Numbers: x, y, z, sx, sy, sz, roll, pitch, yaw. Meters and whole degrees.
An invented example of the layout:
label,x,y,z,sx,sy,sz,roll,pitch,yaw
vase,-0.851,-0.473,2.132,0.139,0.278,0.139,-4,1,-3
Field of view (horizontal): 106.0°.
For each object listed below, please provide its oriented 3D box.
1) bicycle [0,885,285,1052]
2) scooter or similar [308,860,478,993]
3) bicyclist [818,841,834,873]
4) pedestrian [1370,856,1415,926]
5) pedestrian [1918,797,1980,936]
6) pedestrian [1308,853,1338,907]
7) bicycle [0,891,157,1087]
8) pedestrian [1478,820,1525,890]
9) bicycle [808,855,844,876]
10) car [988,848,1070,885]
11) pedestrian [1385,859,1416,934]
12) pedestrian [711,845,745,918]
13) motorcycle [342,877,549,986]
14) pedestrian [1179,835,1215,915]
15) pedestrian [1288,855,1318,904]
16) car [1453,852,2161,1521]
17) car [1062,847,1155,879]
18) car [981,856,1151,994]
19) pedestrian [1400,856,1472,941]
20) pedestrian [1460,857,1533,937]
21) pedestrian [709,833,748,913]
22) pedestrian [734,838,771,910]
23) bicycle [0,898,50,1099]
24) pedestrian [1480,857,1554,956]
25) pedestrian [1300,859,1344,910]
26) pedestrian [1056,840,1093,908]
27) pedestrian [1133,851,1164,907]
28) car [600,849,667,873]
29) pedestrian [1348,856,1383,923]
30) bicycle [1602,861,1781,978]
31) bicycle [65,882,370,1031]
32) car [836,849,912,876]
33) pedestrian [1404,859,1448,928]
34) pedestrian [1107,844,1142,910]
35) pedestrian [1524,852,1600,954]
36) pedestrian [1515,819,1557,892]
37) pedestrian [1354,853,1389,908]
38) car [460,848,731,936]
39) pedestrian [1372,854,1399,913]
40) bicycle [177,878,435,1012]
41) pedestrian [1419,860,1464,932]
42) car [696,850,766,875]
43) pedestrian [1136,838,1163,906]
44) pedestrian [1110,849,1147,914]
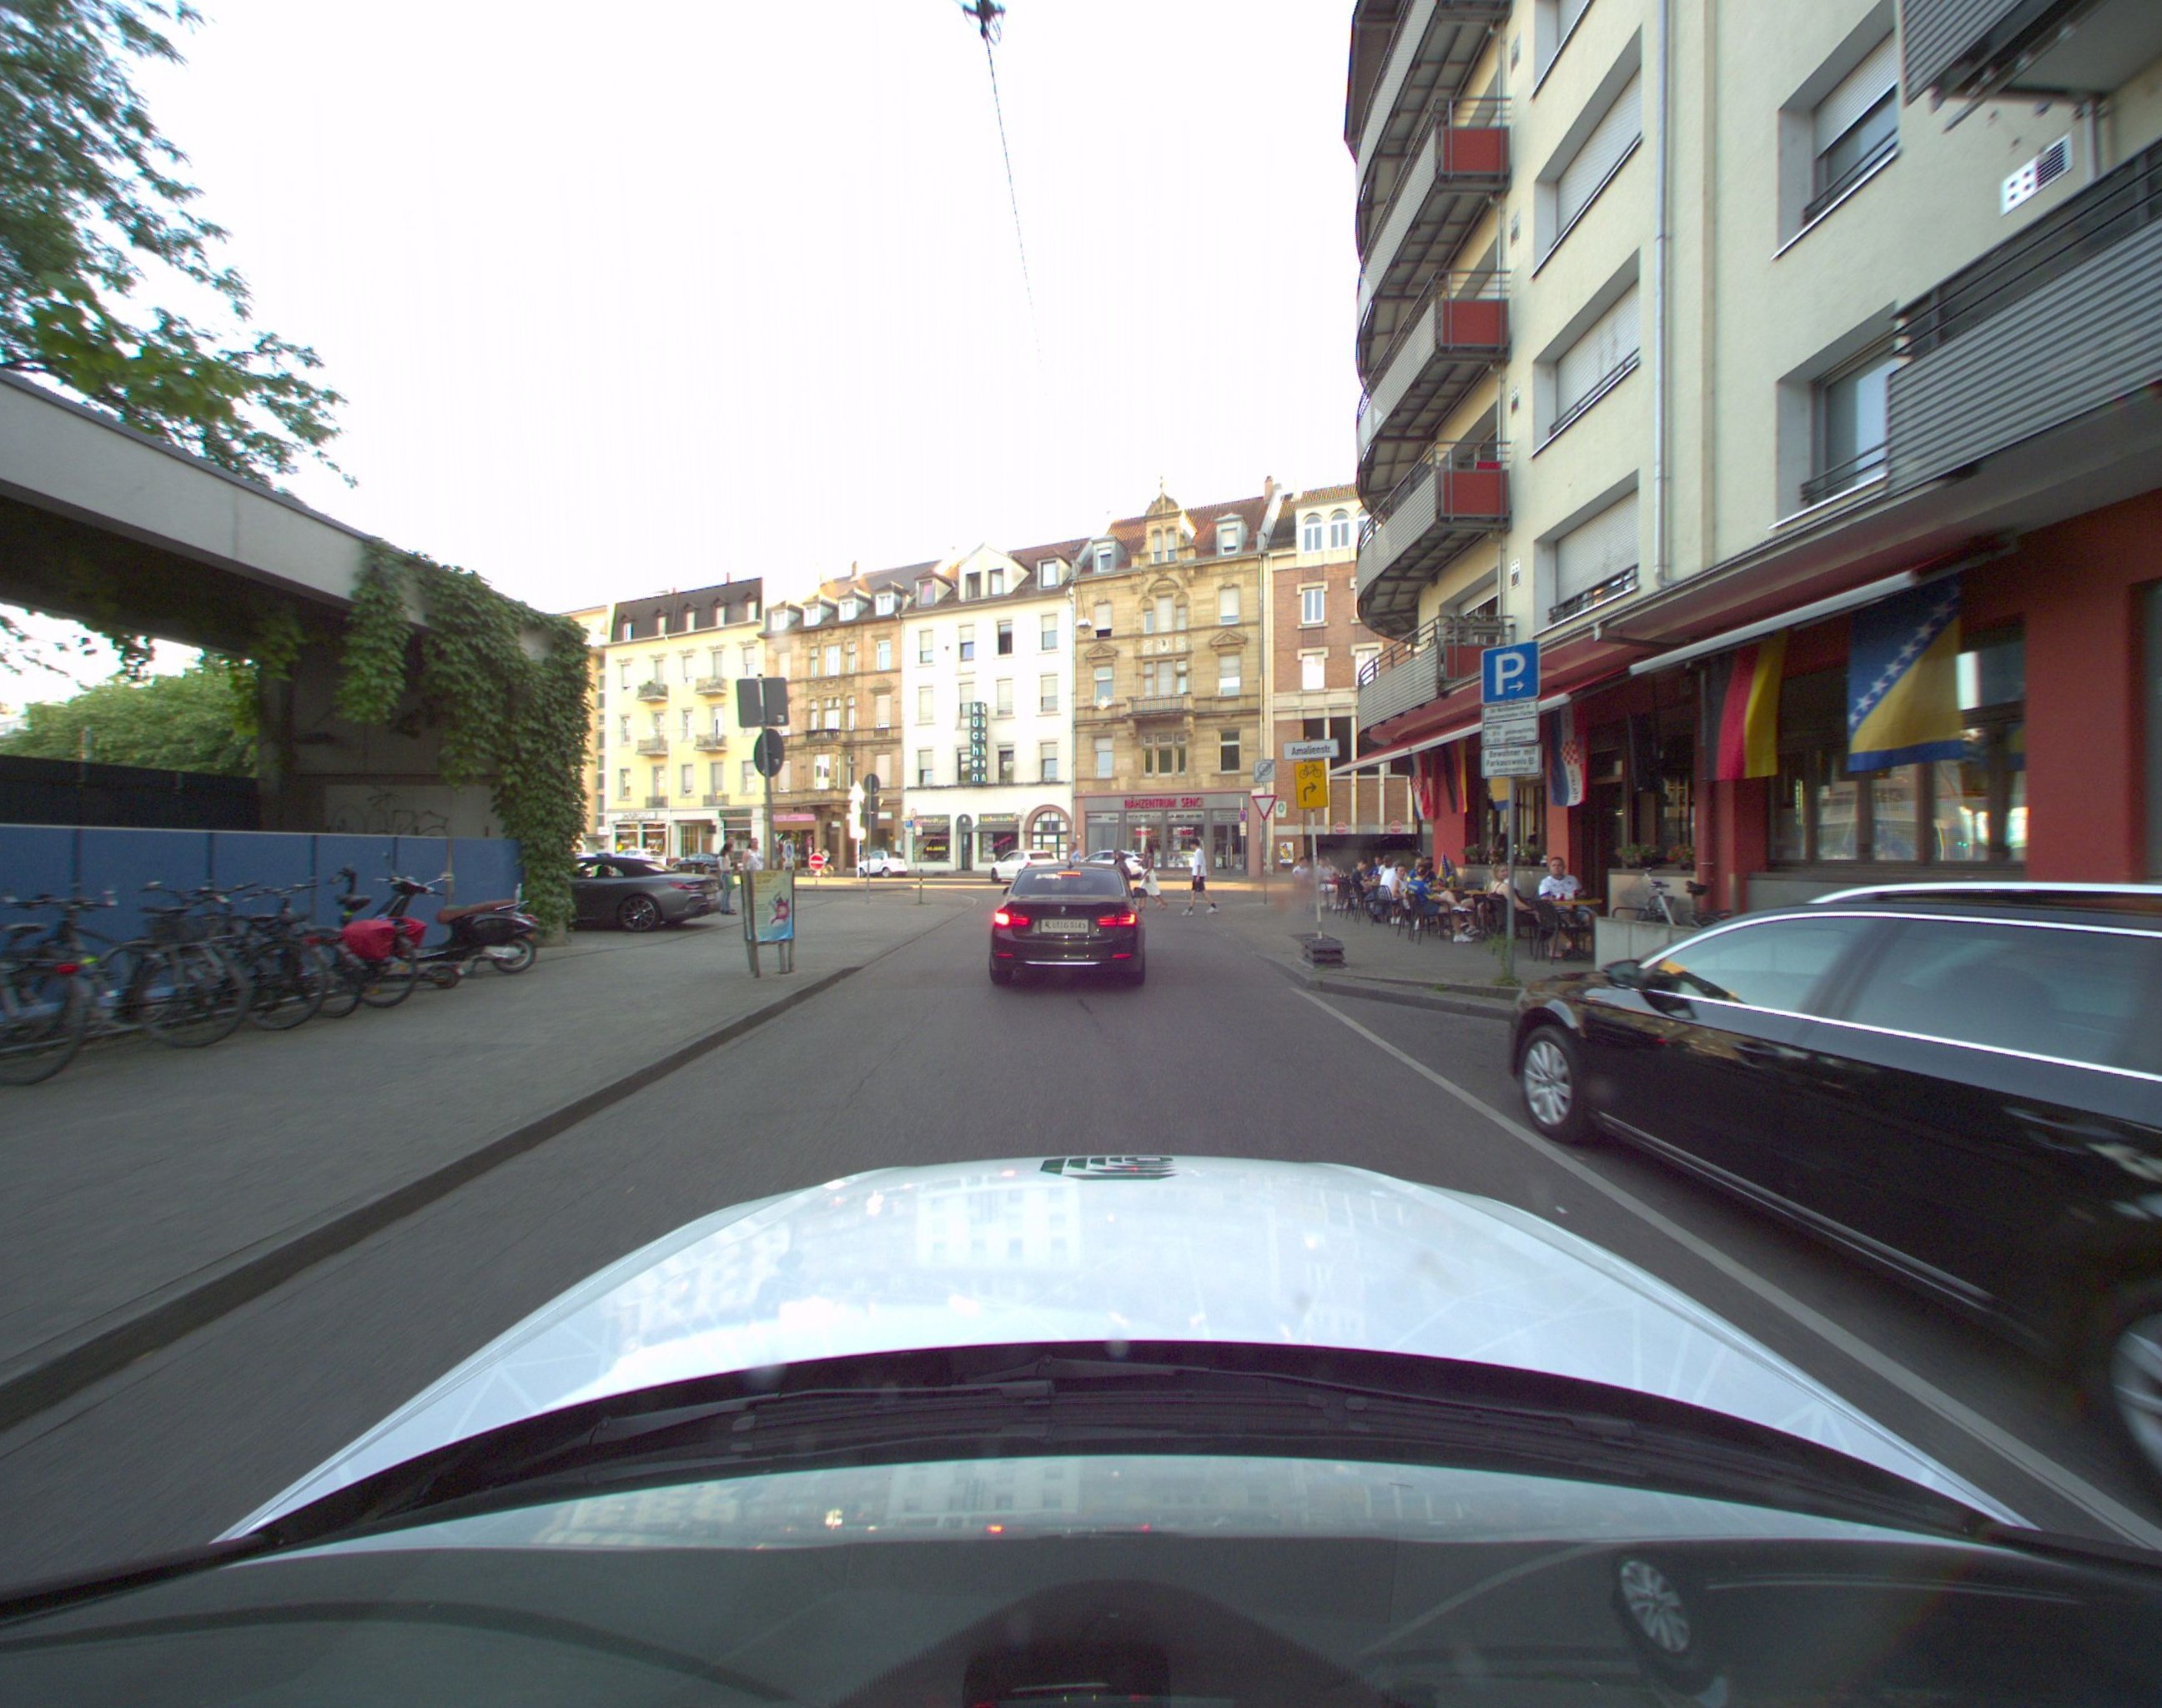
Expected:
label,x,y,z,sx,sy,sz,roll,pitch,yaw
bicycle,-6.907,0.804,5.825,1.791,1.107,0.499,1,0,-5
scooter or similar,-6.873,0.713,8.186,1.207,1.274,0.420,1,0,-16
bicyclist,-13.759,0.158,43.880,0.613,1.756,0.527,0,0,14
pedestrian,5.977,0.700,15.633,0.631,1.276,0.505,-3,0,-37
pedestrian,10.622,0.149,9.968,0.432,1.661,0.424,1,0,-31
pedestrian,5.912,0.625,19.929,0.613,1.284,0.661,-1,0,8
bicycle,-6.930,0.798,5.076,1.787,1.107,0.500,1,0,2
pedestrian,9.966,0.029,19.314,0.717,1.607,0.682,1,0,-27
bicycle,-13.745,0.589,43.864,1.781,1.107,0.540,1,0,13
car,-2.272,0.488,34.847,1.890,1.473,3.960,-1,1,-31
pedestrian,5.518,0.732,14.074,0.340,1.257,0.362,-3,0,38
pedestrian,-8.070,0.610,18.623,0.498,1.643,0.521,-1,0,2
motorcycle,-6.995,0.814,9.081,1.758,1.101,0.561,1,0,-34
pedestrian,2.769,0.482,19.440,0.692,1.877,0.682,0,0,23
pedestrian,5.755,0.650,21.143,0.614,1.254,0.736,-1,0,6
car,3.391,0.794,3.110,1.759,1.502,4.791,2,1,1
car,1.399,0.481,41.308,4.313,1.562,1.878,-1,-1,22
car,-0.128,0.749,10.907,1.759,1.375,4.791,1,1,1
pedestrian,5.571,0.692,12.789,0.856,1.257,0.491,-3,0,0
pedestrian,6.777,0.685,13.307,0.776,1.223,0.714,-3,0,0
pedestrian,-8.359,0.441,19.313,0.580,1.882,0.634,-1,0,6
pedestrian,-8.149,0.473,20.213,0.661,1.746,0.666,-1,0,-42
bicycle,-6.928,0.797,4.481,1.789,1.107,0.500,1,0,-1
pedestrian,5.839,0.691,10.936,0.683,1.286,0.610,-2,-1,9
pedestrian,5.653,0.714,19.145,0.885,1.149,0.620,-1,0,7
pedestrian,-0.166,0.515,21.461,0.891,1.725,0.609,1,2,6
pedestrian,1.816,0.664,21.849,0.812,1.474,0.607,-1,0,4
car,-29.740,0.465,54.099,3.952,1.510,1.810,-1,-1,22
pedestrian,5.684,0.696,16.287,0.489,1.303,0.418,-3,0,0
bicycle,6.652,0.676,9.000,0.534,1.154,1.740,-1,-2,-4
bicycle,-6.866,0.804,6.529,1.790,1.107,0.499,1,0,-3
car,-11.947,0.482,47.070,3.952,1.510,1.810,-1,-1,22
pedestrian,6.282,0.712,14.846,0.421,1.201,0.562,-3,0,-42
pedestrian,1.063,0.558,20.090,0.724,1.609,0.648,1,0,-9
pedestrian,6.654,0.654,11.291,0.605,1.348,0.696,-2,0,-1
pedestrian,10.200,0.035,18.263,0.533,1.607,0.605,1,0,-21
pedestrian,7.019,0.620,19.659,0.611,1.279,0.705,0,0,37
car,-9.061,0.664,15.541,3.985,1.501,1.886,-1,0,-8
pedestrian,6.657,0.637,17.840,0.486,1.276,0.523,-1,0,13
bicycle,-6.912,0.799,7.305,1.788,1.107,0.500,1,0,-1
pedestrian,6.261,0.717,14.145,0.421,1.201,0.531,-3,0,-43
car,-21.996,0.532,51.176,3.952,1.510,1.810,-1,-1,22
pedestrian,1.779,0.462,21.141,0.664,1.746,0.608,-1,0,6
pedestrian,1.128,0.641,19.419,0.735,1.513,0.648,1,0,-9
